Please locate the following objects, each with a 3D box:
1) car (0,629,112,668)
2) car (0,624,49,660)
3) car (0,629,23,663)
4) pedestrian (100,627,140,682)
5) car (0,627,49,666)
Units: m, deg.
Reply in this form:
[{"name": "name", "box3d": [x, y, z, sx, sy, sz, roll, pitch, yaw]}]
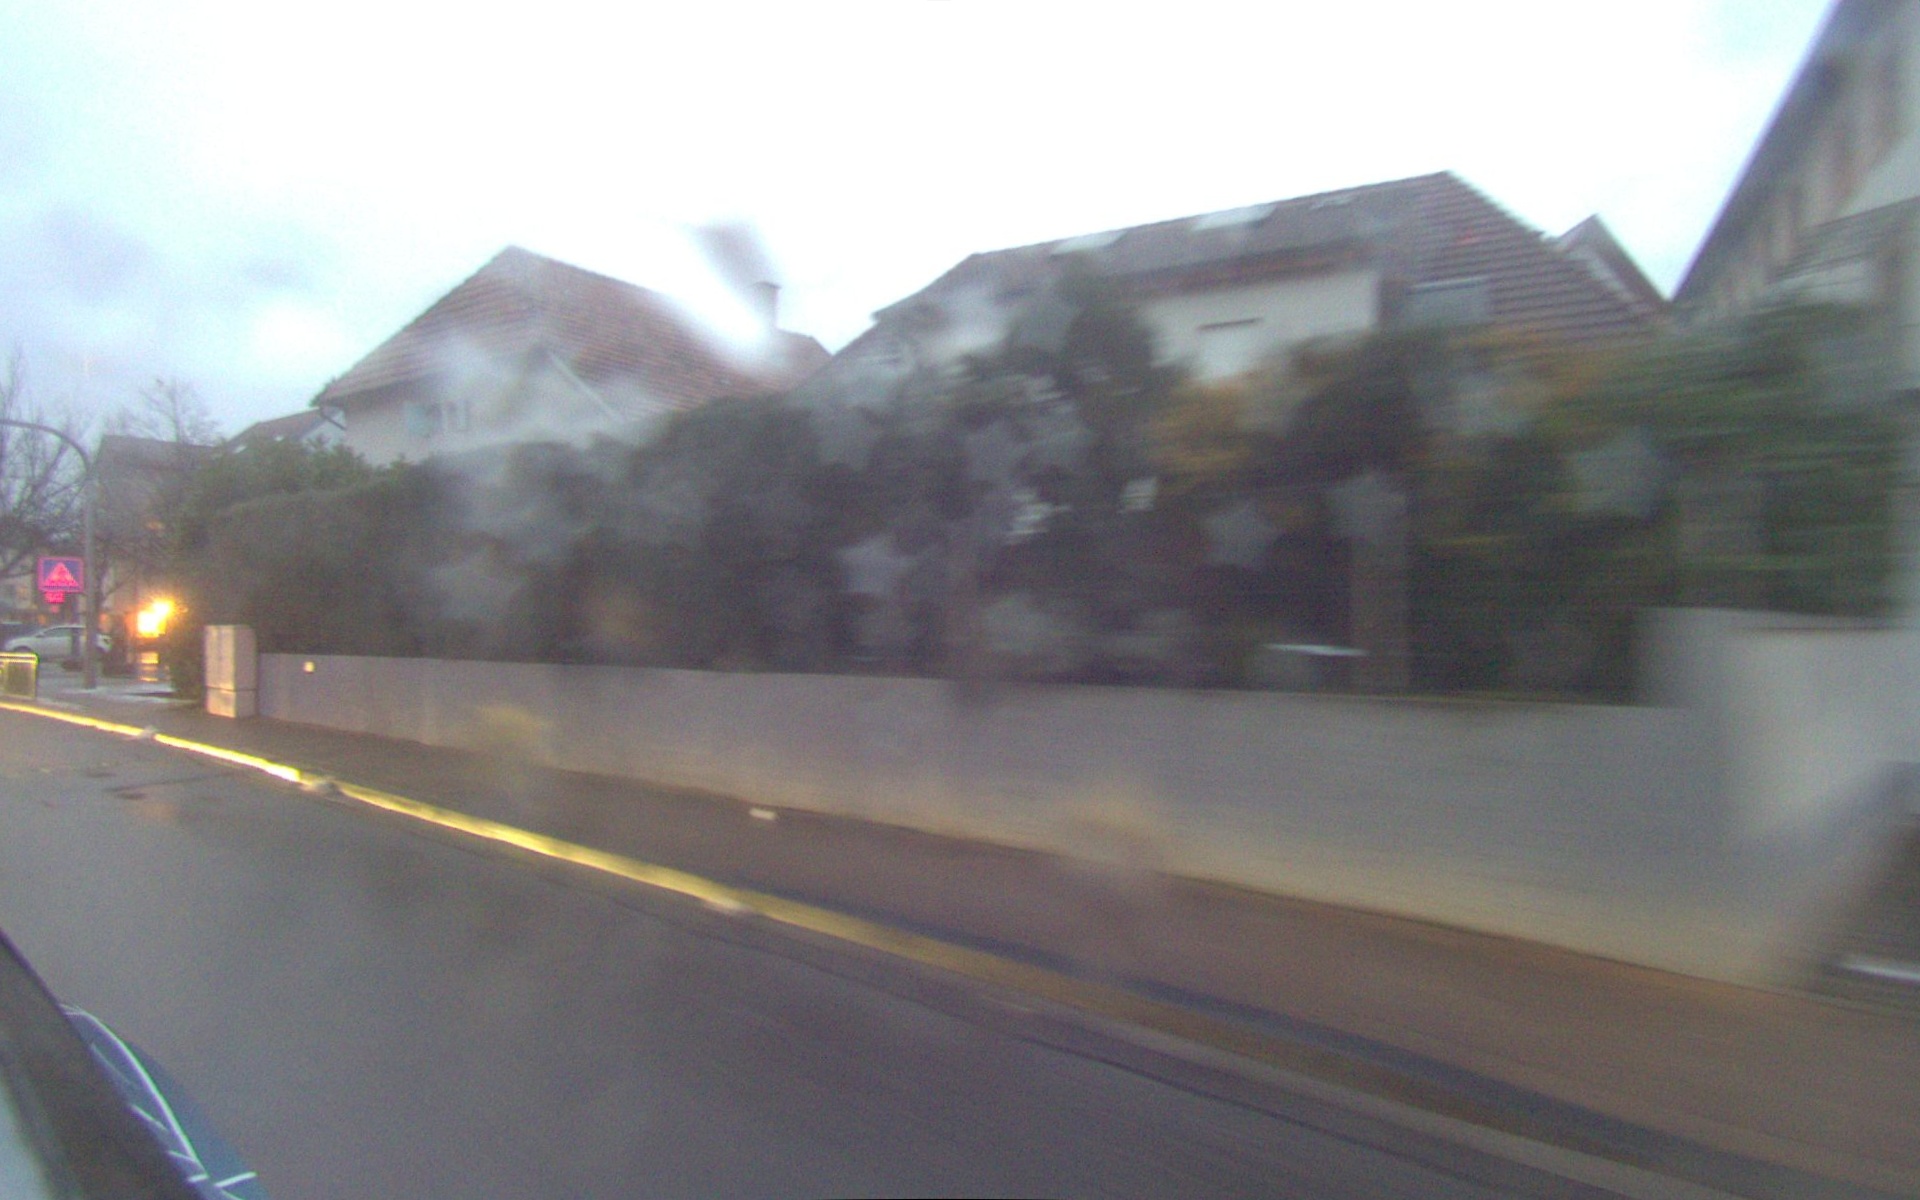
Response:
[{"name": "car", "box3d": [-37.138, 1.950, 41.454, 3.426, 1.420, 1.615, -1, -1, -29]}, {"name": "car", "box3d": [-44.338, 1.942, 46.233, 3.937, 1.645, 1.637, 0, -2, -40]}, {"name": "car", "box3d": [-48.426, 2.285, 49.234, 3.934, 1.645, 1.638, 0, -2, -35]}, {"name": "pedestrian", "box3d": [-27.426, 1.760, 33.037, 0.955, 1.748, 0.870, -3, -2, 41]}, {"name": "car", "box3d": [-42.129, 2.048, 43.926, 3.573, 1.624, 1.615, -1, -1, -31]}]
